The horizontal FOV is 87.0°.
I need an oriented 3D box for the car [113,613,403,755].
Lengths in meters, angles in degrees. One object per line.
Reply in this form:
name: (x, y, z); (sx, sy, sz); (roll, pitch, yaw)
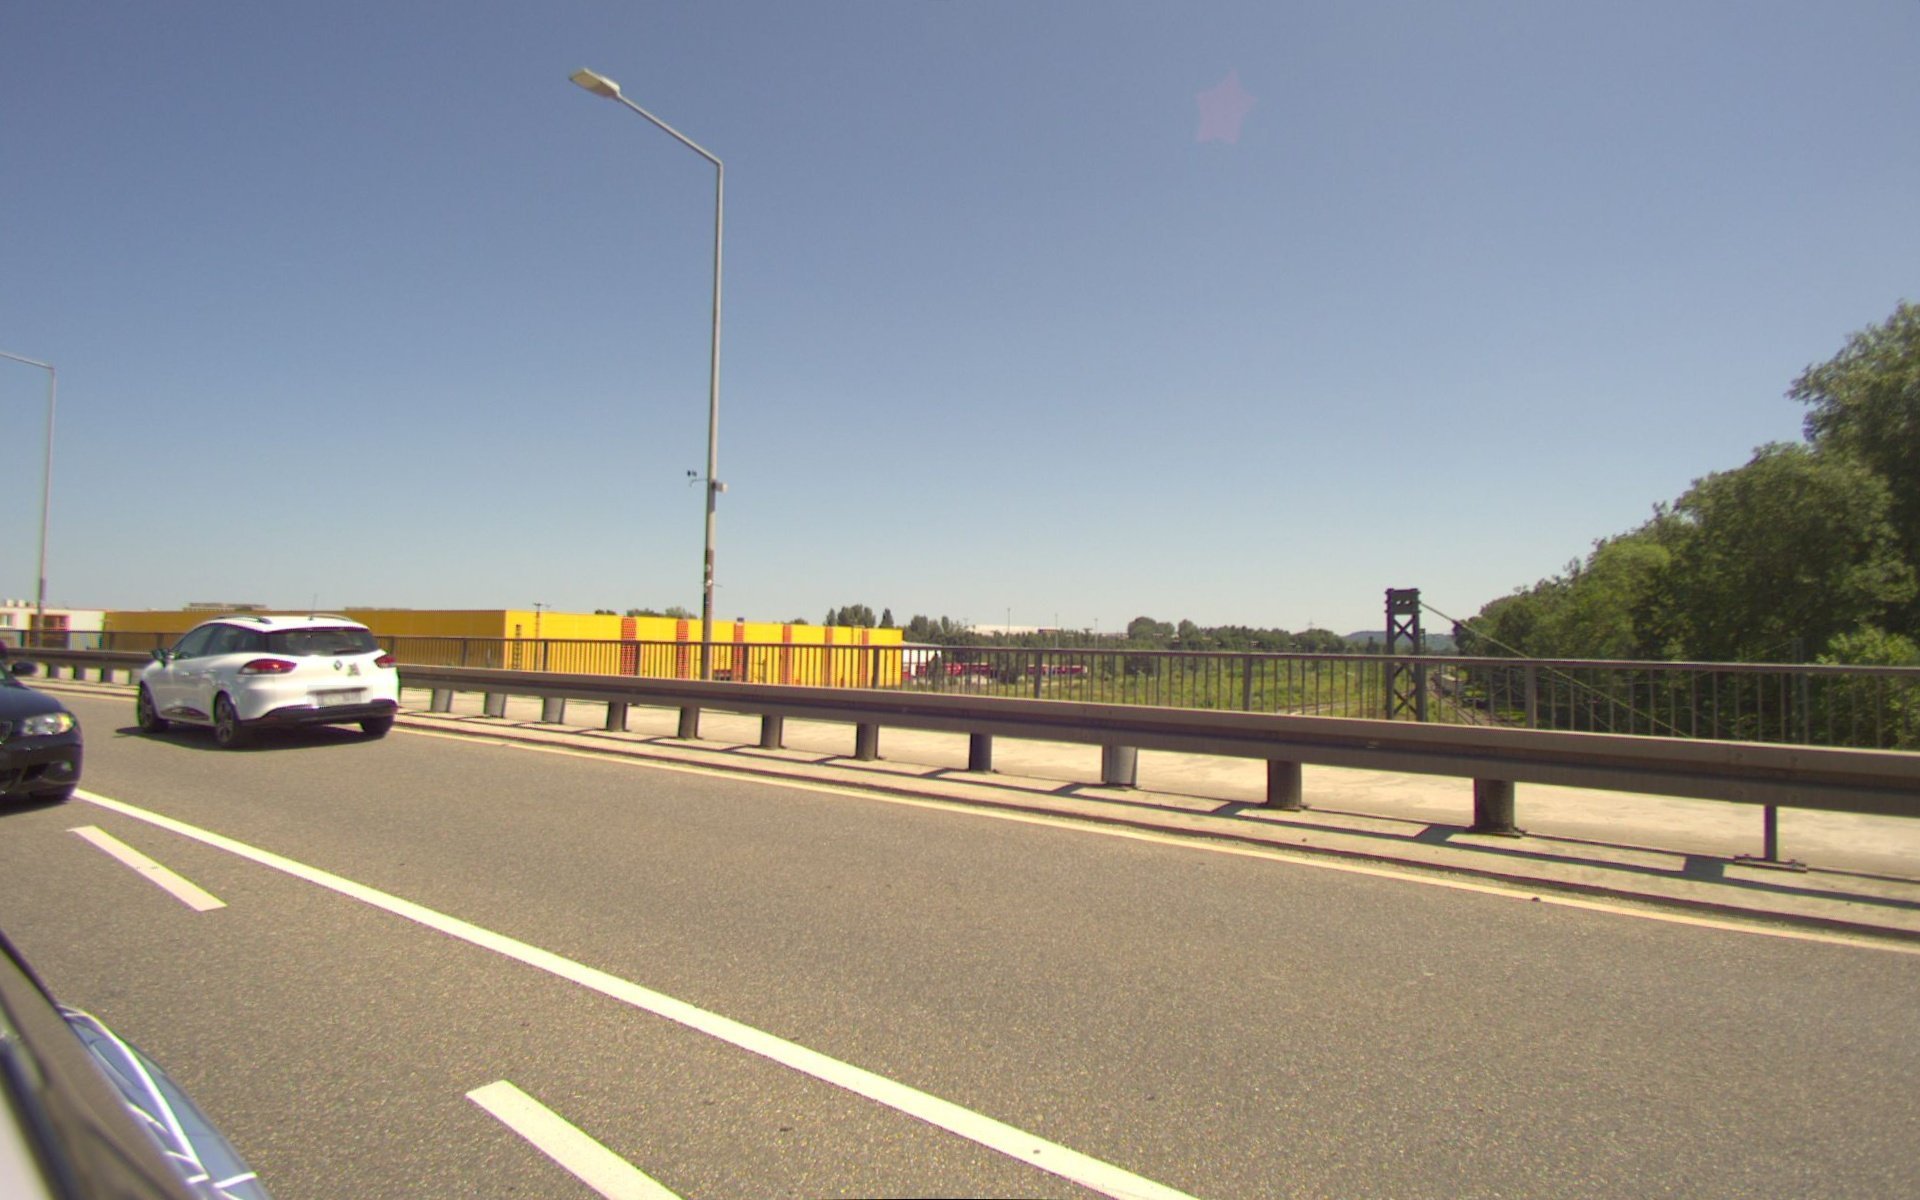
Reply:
car: (-8.563, 0.893, 12.242); (4.046, 1.460, 1.585); (-1, -1, 35)

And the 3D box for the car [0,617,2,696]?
car: (-20.272, 1.090, 19.564); (4.449, 1.480, 1.695); (-1, -1, 35)

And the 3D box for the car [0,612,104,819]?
car: (-8.814, 0.838, 8.219); (4.513, 1.466, 1.774); (-1, -1, 35)
